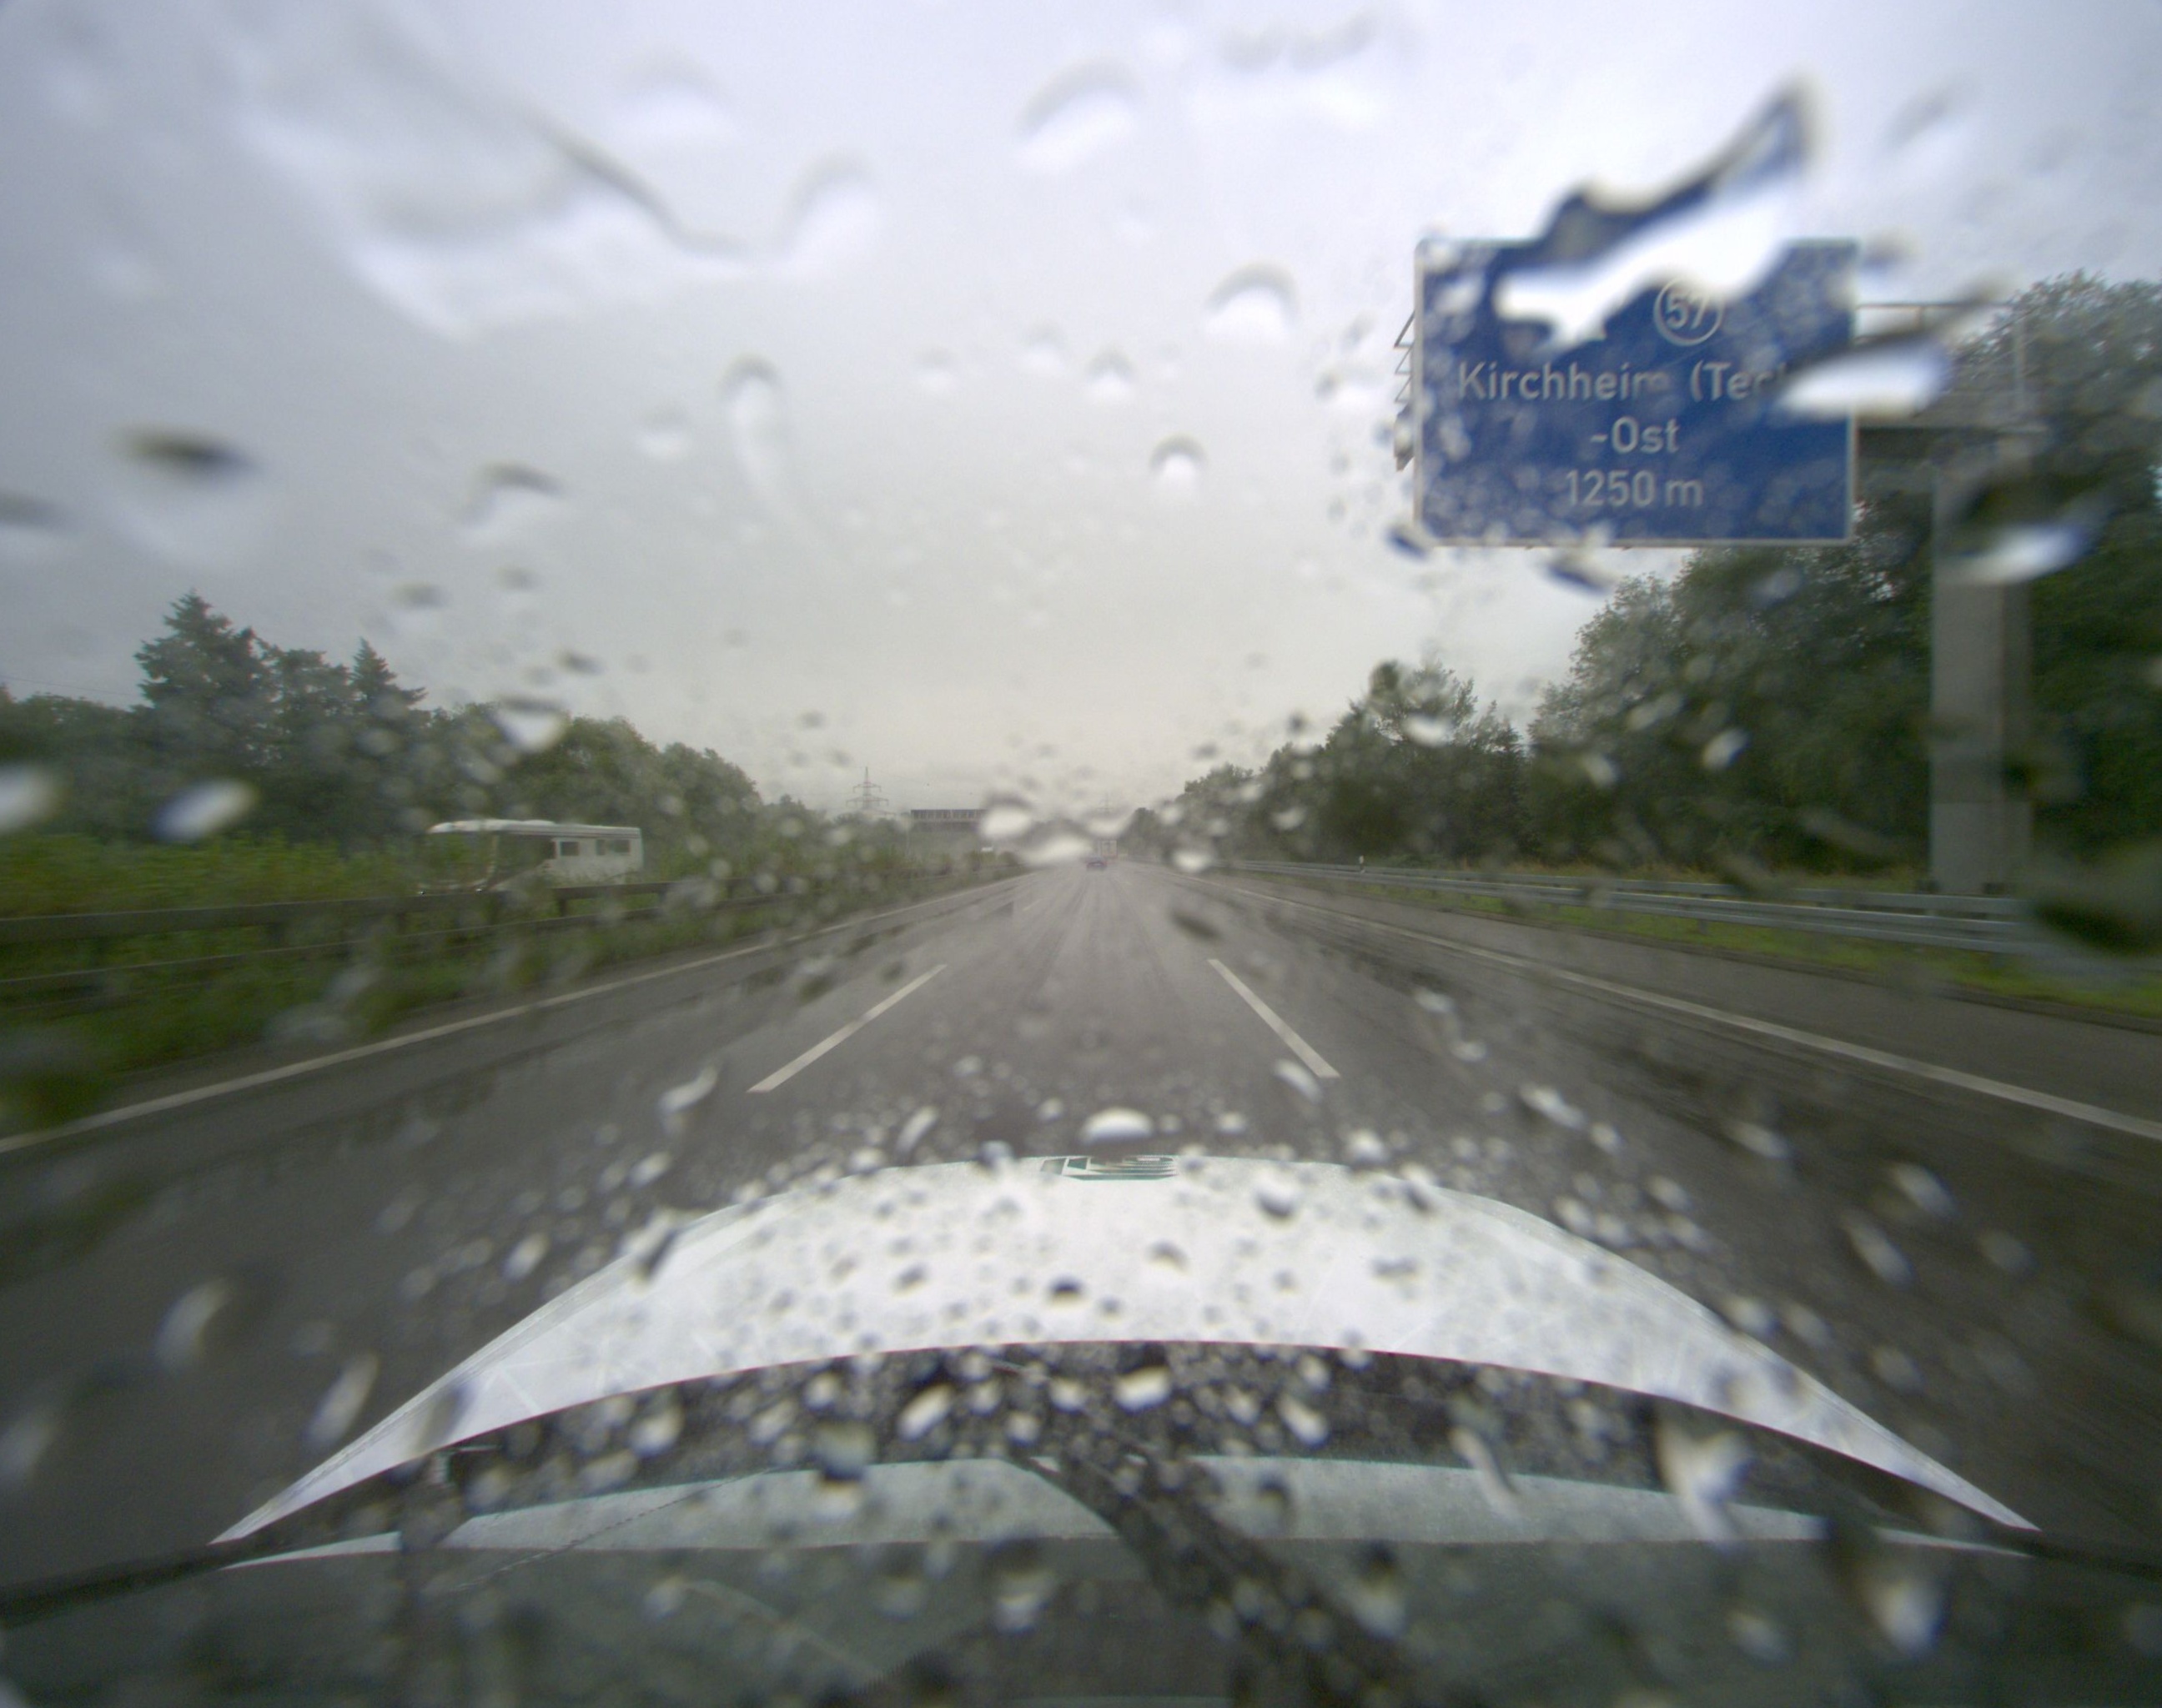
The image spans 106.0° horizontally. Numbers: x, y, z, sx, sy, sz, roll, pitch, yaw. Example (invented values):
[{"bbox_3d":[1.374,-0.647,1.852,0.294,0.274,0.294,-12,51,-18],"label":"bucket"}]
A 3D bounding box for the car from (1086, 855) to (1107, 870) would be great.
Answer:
[{"bbox_3d":[1.367,0.729,71.324,1.742,1.212,4.001,1,0,1],"label":"car"}]

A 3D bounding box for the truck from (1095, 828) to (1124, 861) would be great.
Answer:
[{"bbox_3d":[4.659,-1.640,138.034,4.242,4.971,17.342,-3,1,1],"label":"truck"}]

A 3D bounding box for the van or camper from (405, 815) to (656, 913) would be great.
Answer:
[{"bbox_3d":[-20.167,0.321,30.926,2.877,3.086,9.516,-1,0,1],"label":"van or camper"}]

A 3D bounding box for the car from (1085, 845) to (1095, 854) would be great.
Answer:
[{"bbox_3d":[2.497,-1.271,229.553,2.389,2.272,4.994,0,1,-5],"label":"car"}]
